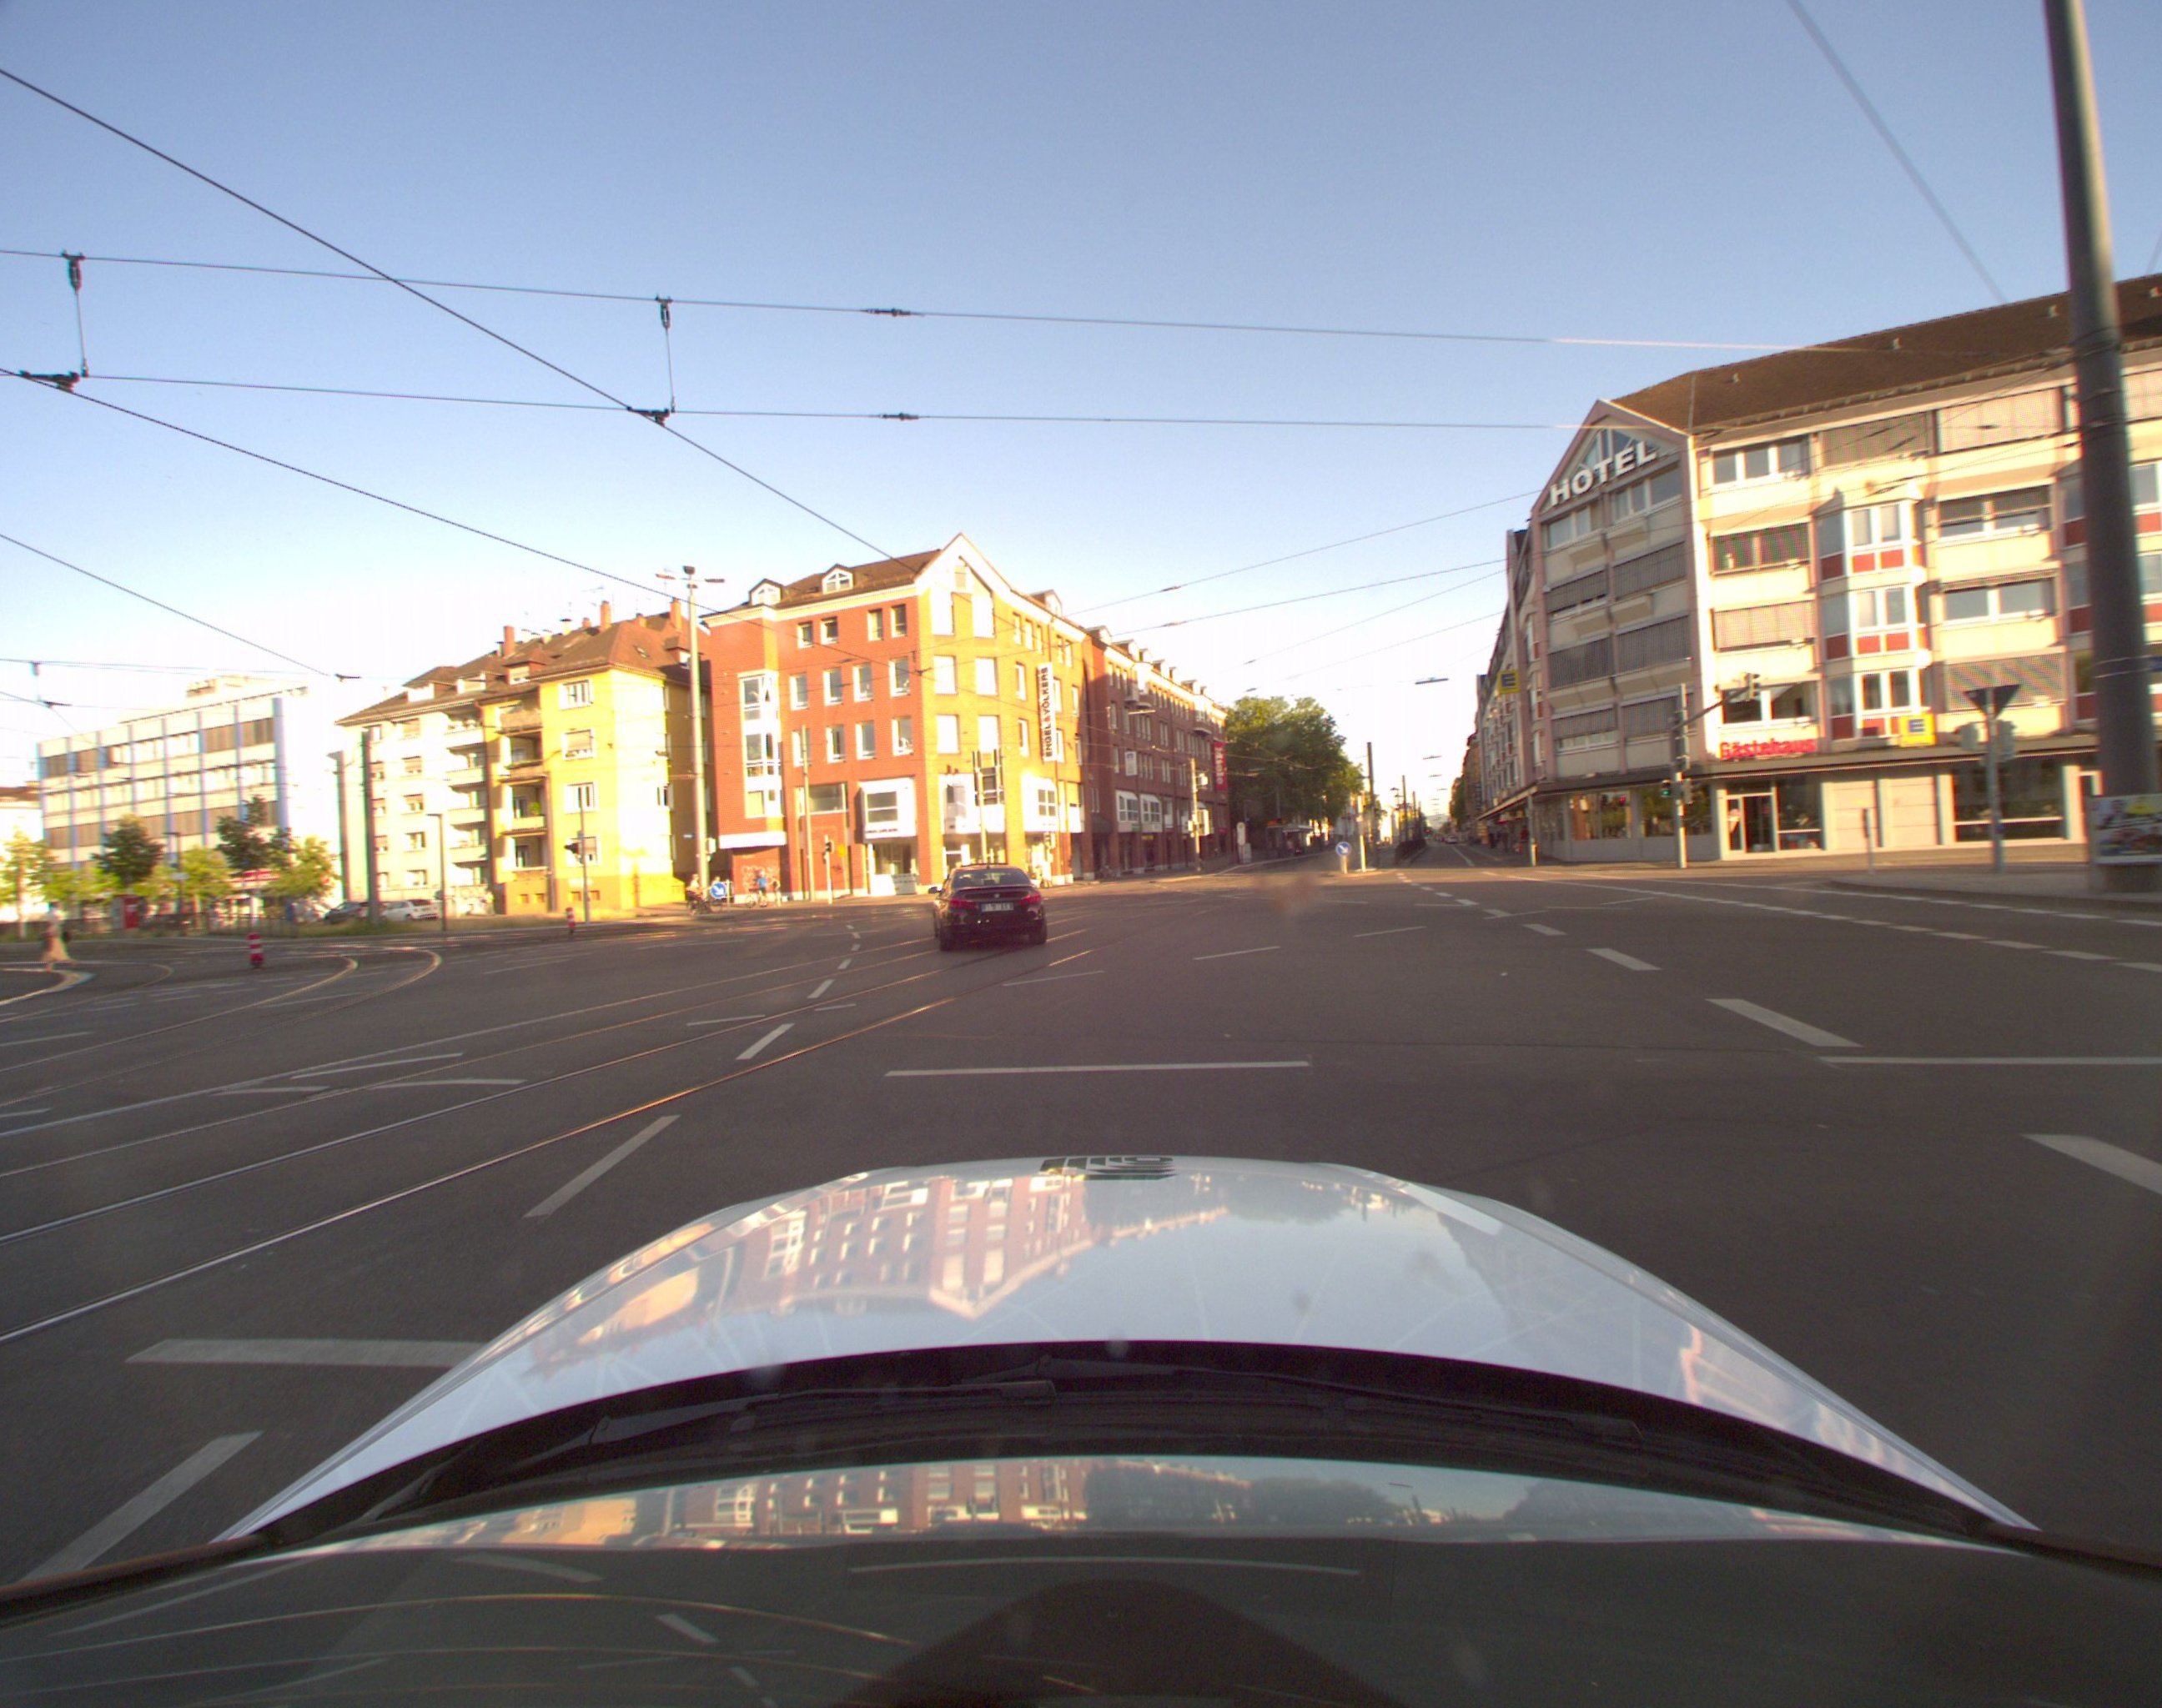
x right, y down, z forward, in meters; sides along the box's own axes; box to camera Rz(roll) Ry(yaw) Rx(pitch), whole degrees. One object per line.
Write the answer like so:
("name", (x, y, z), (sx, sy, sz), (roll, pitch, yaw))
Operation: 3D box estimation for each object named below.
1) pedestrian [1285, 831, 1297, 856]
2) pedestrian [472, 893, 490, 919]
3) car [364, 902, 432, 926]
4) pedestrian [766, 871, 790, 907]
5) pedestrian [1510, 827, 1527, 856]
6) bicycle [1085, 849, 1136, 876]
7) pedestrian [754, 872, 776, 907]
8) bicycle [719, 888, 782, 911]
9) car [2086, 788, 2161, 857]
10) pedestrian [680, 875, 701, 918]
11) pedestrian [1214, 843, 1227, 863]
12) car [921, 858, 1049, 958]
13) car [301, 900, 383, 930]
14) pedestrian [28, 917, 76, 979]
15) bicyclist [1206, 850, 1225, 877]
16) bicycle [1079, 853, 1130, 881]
("pedestrian", (17.801, -0.903, 69.034), (0.801, 2.013, 0.681), (-3, 0, 20))
("pedestrian", (-38.584, 3.353, 52.361), (0.712, 1.598, 0.729), (-3, -1, -22))
("car", (-44.363, 3.884, 52.936), (3.503, 1.420, 1.747), (-1, 1, 18))
("pedestrian", (-16.131, 1.860, 43.404), (0.864, 1.793, 0.713), (-3, 0, 12))
("pedestrian", (24.573, -0.693, 45.755), (0.699, 1.548, 0.912), (-2, 3, 21))
("bicycle", (2.082, 0.608, 57.320), (3.268, 1.726, 1.075), (-3, 0, 22))
("pedestrian", (-16.896, 1.904, 43.526), (0.632, 1.778, 0.818), (-3, 0, 13))
("bicycle", (-17.348, 2.375, 42.726), (3.032, 1.017, 0.935), (-4, 0, 13))
("car", (27.453, -0.863, 18.924), (4.553, 1.556, 2.236), (-4, -3, 28))
("pedestrian", (-15.745, 1.714, 32.860), (0.509, 1.708, 0.421), (-4, 0, 20))
("pedestrian", (14.540, -0.137, 84.976), (1.076, 2.013, 1.090), (-3, 0, 18))
("car", (-1.980, 0.894, 15.579), (1.844, 1.495, 4.272), (-5, 1, -14))
("car", (-49.354, 4.090, 54.415), (4.301, 1.705, 2.129), (-3, -1, 18))
("pedestrian", (-27.421, 2.482, 21.696), (0.628, 1.541, 0.712), (-4, 0, 36))
("bicyclist", (13.078, 0.918, 79.254), (1.279, 2.468, 1.677), (-3, 0, 22))
("bicycle", (1.629, 0.887, 56.241), (3.268, 1.726, 1.075), (-3, 0, 23))
